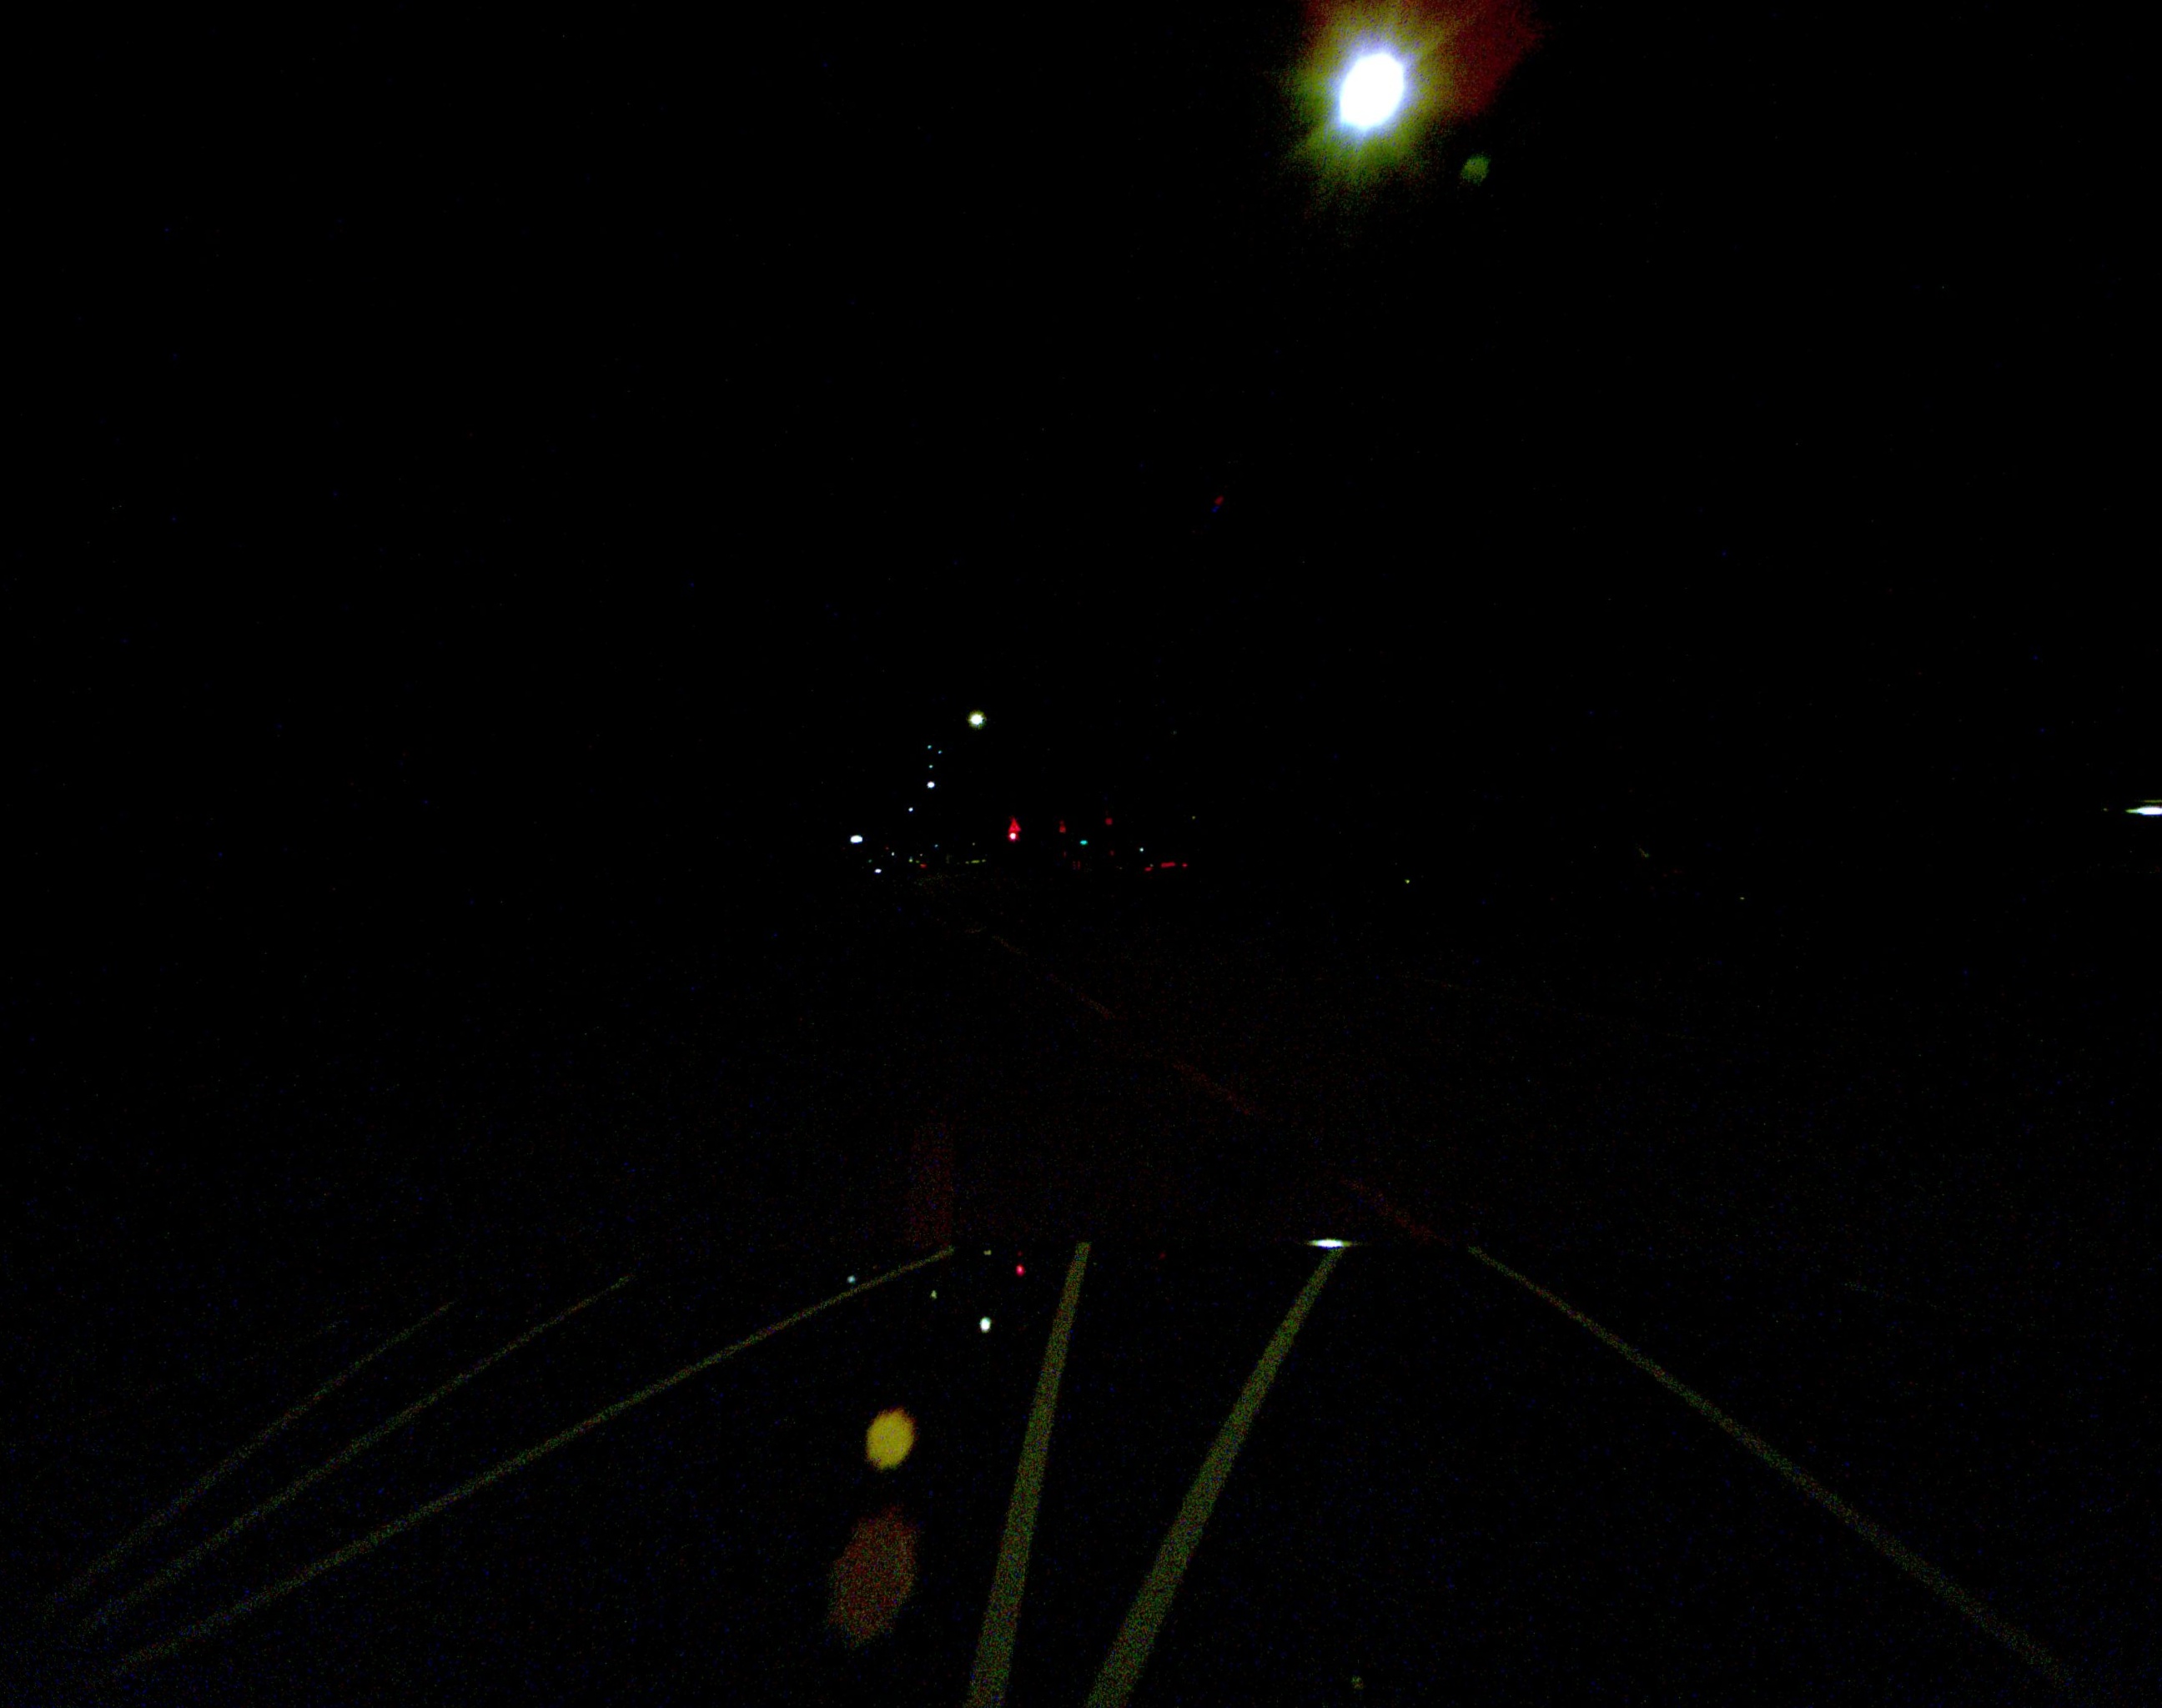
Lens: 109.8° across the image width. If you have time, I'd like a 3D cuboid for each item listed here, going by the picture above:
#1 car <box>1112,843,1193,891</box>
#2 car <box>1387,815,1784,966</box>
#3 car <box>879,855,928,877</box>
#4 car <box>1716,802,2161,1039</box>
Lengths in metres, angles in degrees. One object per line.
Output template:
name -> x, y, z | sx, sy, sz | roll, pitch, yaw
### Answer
car -> 2.400, 0.432, 26.240 | 1.634, 1.455, 3.510 | -3, 1, -14
car -> 6.298, 0.384, 10.211 | 1.644, 1.425, 4.344 | -6, 1, -16
car -> -15.636, 1.021, 66.871 | 4.002, 1.622, 1.871 | -3, 1, -15
car -> 7.511, 0.399, 5.470 | 1.557, 1.425, 4.342 | -6, 1, -15
